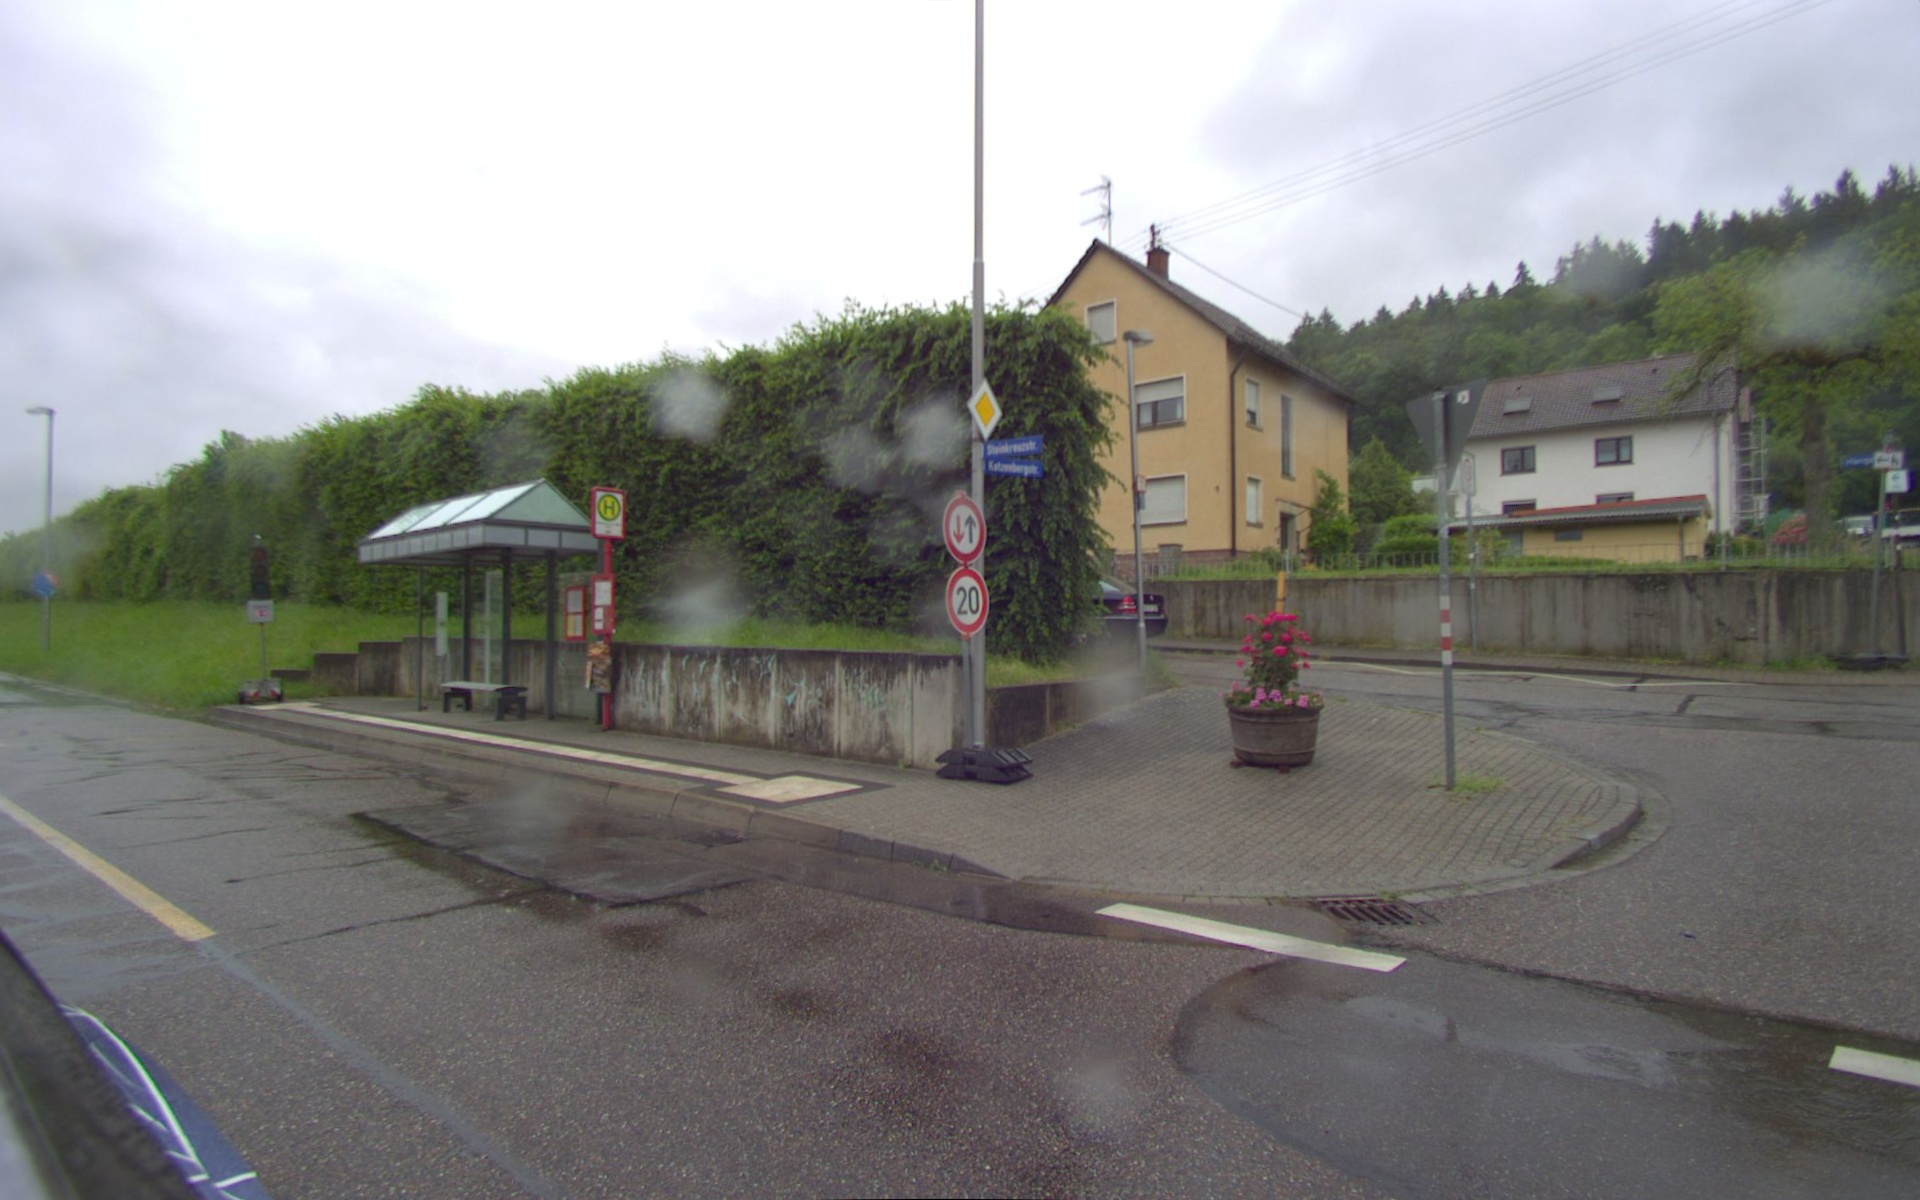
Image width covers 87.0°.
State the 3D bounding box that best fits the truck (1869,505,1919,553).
[{"bbox_3d":[46.218,-3.449,49.516,2.298,2.142,6.001,-1,1,39],"label":"truck"}]

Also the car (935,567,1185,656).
[{"bbox_3d":[1.713,0.141,18.213,4.219,1.399,1.727,2,1,40],"label":"car"}]
